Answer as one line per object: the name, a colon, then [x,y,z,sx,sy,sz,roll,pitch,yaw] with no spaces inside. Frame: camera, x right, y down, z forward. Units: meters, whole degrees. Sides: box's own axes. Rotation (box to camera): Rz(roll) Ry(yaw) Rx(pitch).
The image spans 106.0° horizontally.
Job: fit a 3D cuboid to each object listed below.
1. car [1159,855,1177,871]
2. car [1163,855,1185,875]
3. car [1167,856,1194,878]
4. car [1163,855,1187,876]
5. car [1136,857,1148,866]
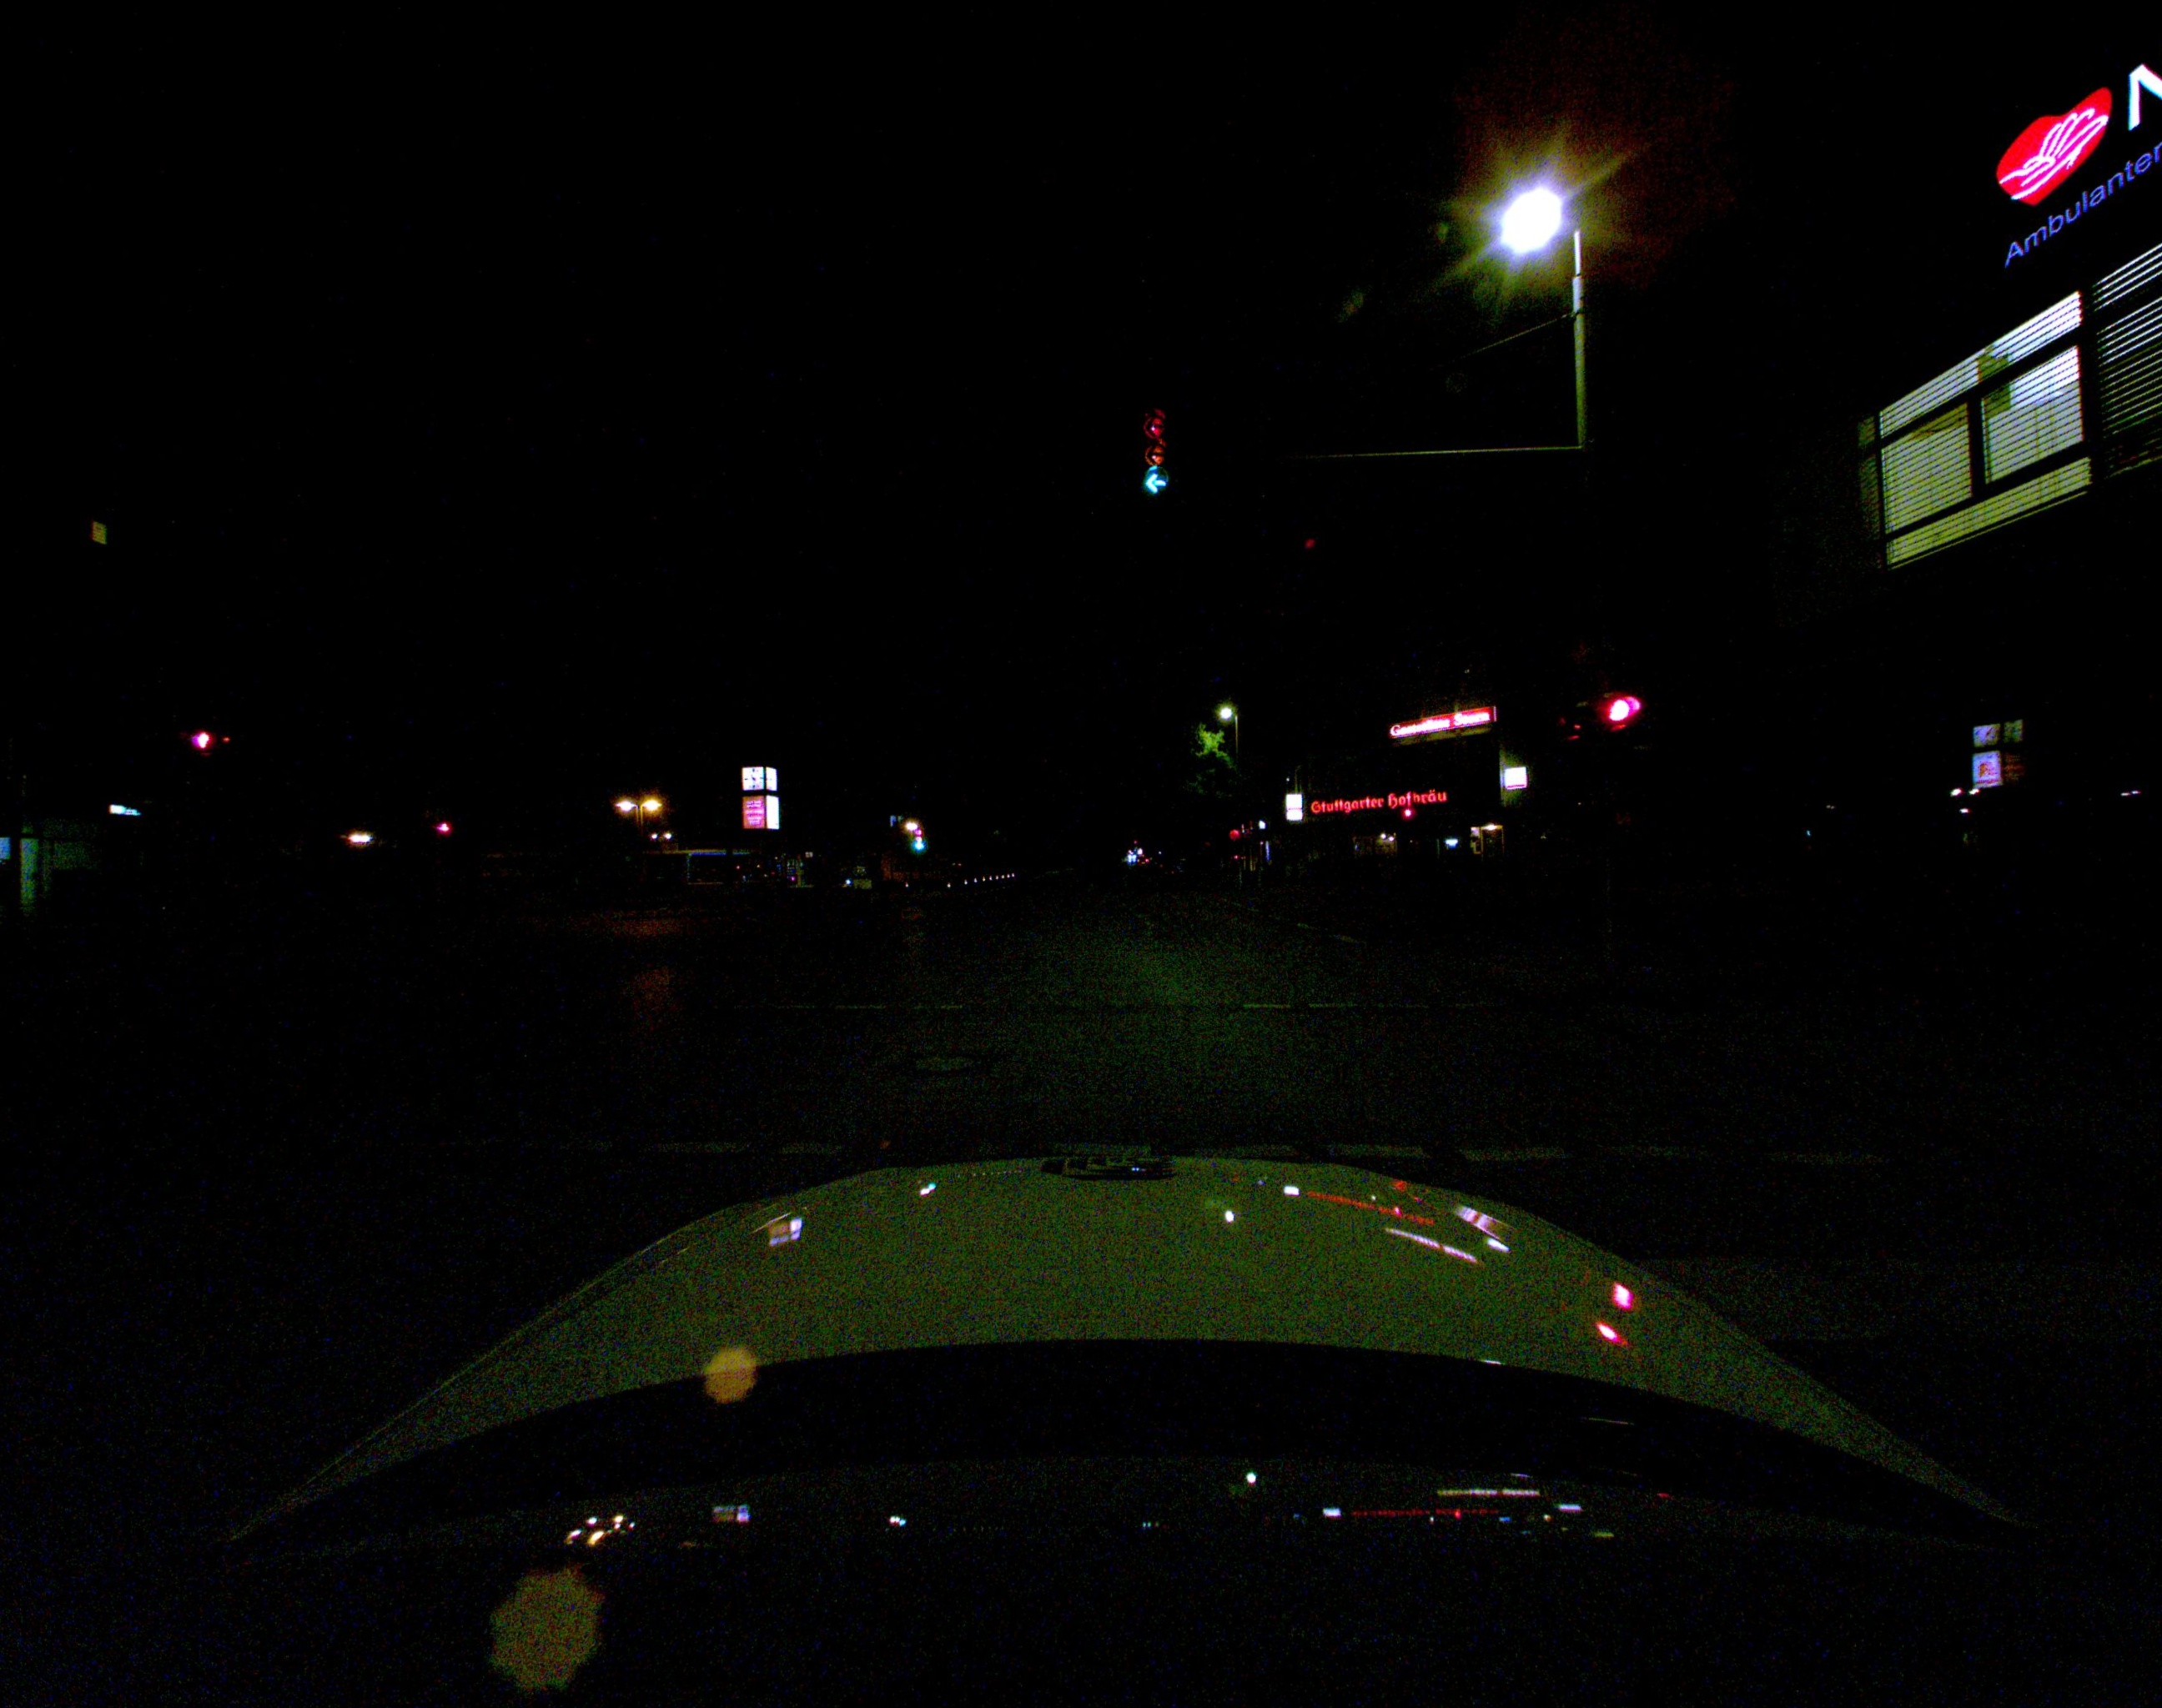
car: [10.060,1.036,94.405,1.868,1.683,4.005,-2,-1,5]
car: [8.685,1.010,76.412,1.868,1.729,4.005,-2,-1,5]
car: [7.737,0.966,63.649,1.868,1.615,4.005,-2,-1,5]
car: [7.890,0.951,68.756,1.868,1.615,4.005,-2,-1,5]
car: [10.133,1.271,135.486,1.866,1.454,4.319,0,-1,3]
